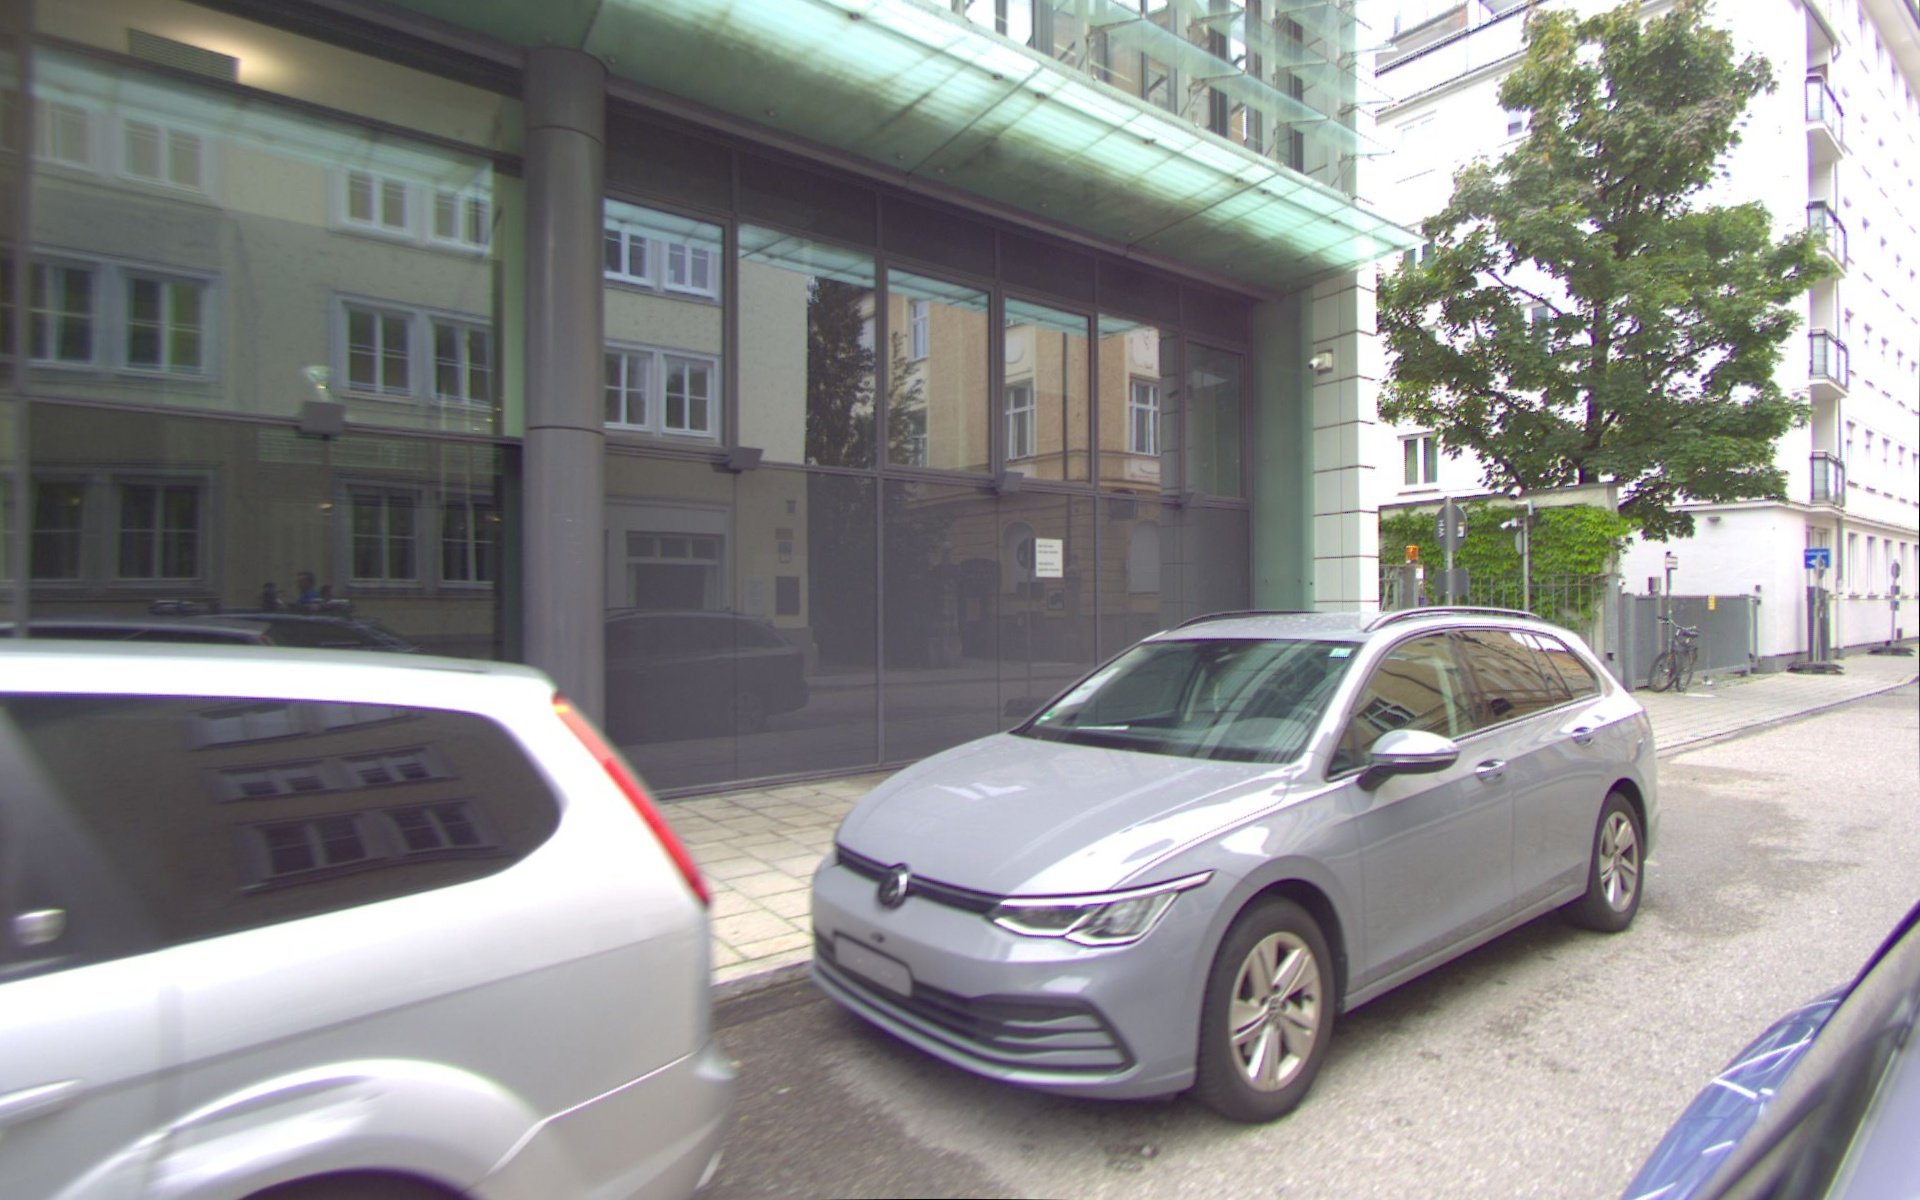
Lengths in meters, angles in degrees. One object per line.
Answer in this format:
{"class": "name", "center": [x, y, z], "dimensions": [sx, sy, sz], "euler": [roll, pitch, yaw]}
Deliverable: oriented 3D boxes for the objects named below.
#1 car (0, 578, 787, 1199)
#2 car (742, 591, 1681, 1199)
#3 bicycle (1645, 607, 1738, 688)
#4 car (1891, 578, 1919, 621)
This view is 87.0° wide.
{"class": "car", "center": [-2.466, 0.753, 1.281], "dimensions": [4.164, 1.486, 1.709], "euler": [-1, -2, -42]}
{"class": "car", "center": [1.390, 0.704, 4.354], "dimensions": [4.251, 1.450, 1.711], "euler": [-1, 0, -39]}
{"class": "bicycle", "center": [11.573, 0.748, 15.988], "dimensions": [1.799, 1.214, 0.709], "euler": [3, -2, -37]}
{"class": "car", "center": [43.906, -0.005, 44.005], "dimensions": [1.895, 1.915, 4.688], "euler": [0, 0, -29]}
